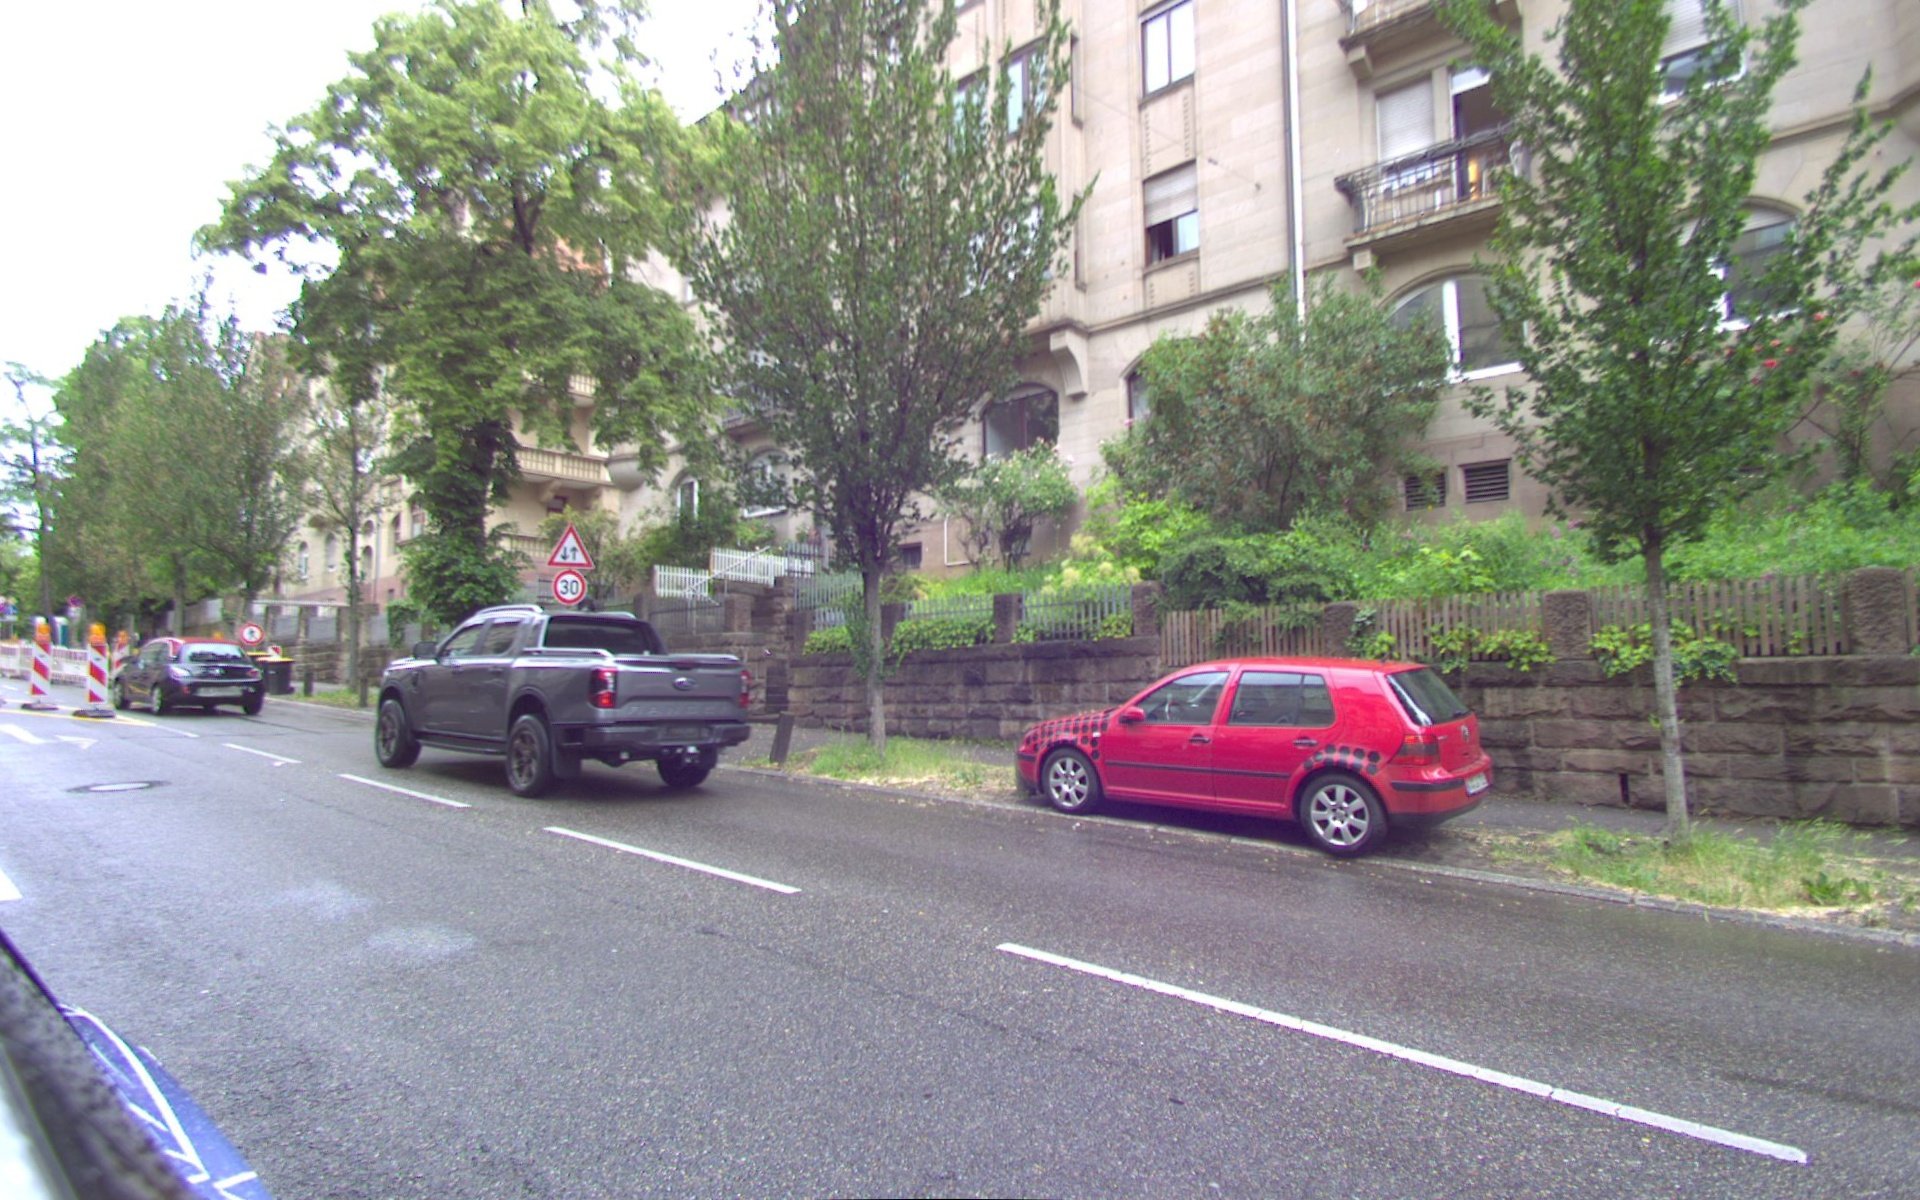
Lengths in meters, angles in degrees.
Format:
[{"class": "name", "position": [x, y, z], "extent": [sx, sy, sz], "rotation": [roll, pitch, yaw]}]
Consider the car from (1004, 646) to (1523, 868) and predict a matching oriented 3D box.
[{"class": "car", "position": [2.449, 1.154, 8.844], "extent": [4.062, 1.462, 1.596], "rotation": [-2, -3, 42]}]

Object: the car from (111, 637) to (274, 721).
[{"class": "car", "position": [-15.073, 1.518, 19.832], "extent": [3.652, 1.483, 1.649], "rotation": [-2, -6, 39]}]

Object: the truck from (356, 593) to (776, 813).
[{"class": "truck", "position": [-4.469, 1.008, 11.027], "extent": [5.150, 1.850, 2.049], "rotation": [-2, -5, 41]}]

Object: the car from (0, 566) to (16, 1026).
[{"class": "car", "position": [-5.380, 0.763, 4.140], "extent": [4.520, 1.685, 1.799], "rotation": [-2, -3, 42]}]

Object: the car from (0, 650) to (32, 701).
[{"class": "car", "position": [-30.538, 2.313, 31.560], "extent": [4.316, 1.523, 1.885], "rotation": [-2, -5, 42]}]

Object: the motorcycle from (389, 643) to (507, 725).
[{"class": "motorcycle", "position": [-9.729, 1.548, 19.165], "extent": [3.058, 1.425, 0.792], "rotation": [-2, -2, 38]}]
